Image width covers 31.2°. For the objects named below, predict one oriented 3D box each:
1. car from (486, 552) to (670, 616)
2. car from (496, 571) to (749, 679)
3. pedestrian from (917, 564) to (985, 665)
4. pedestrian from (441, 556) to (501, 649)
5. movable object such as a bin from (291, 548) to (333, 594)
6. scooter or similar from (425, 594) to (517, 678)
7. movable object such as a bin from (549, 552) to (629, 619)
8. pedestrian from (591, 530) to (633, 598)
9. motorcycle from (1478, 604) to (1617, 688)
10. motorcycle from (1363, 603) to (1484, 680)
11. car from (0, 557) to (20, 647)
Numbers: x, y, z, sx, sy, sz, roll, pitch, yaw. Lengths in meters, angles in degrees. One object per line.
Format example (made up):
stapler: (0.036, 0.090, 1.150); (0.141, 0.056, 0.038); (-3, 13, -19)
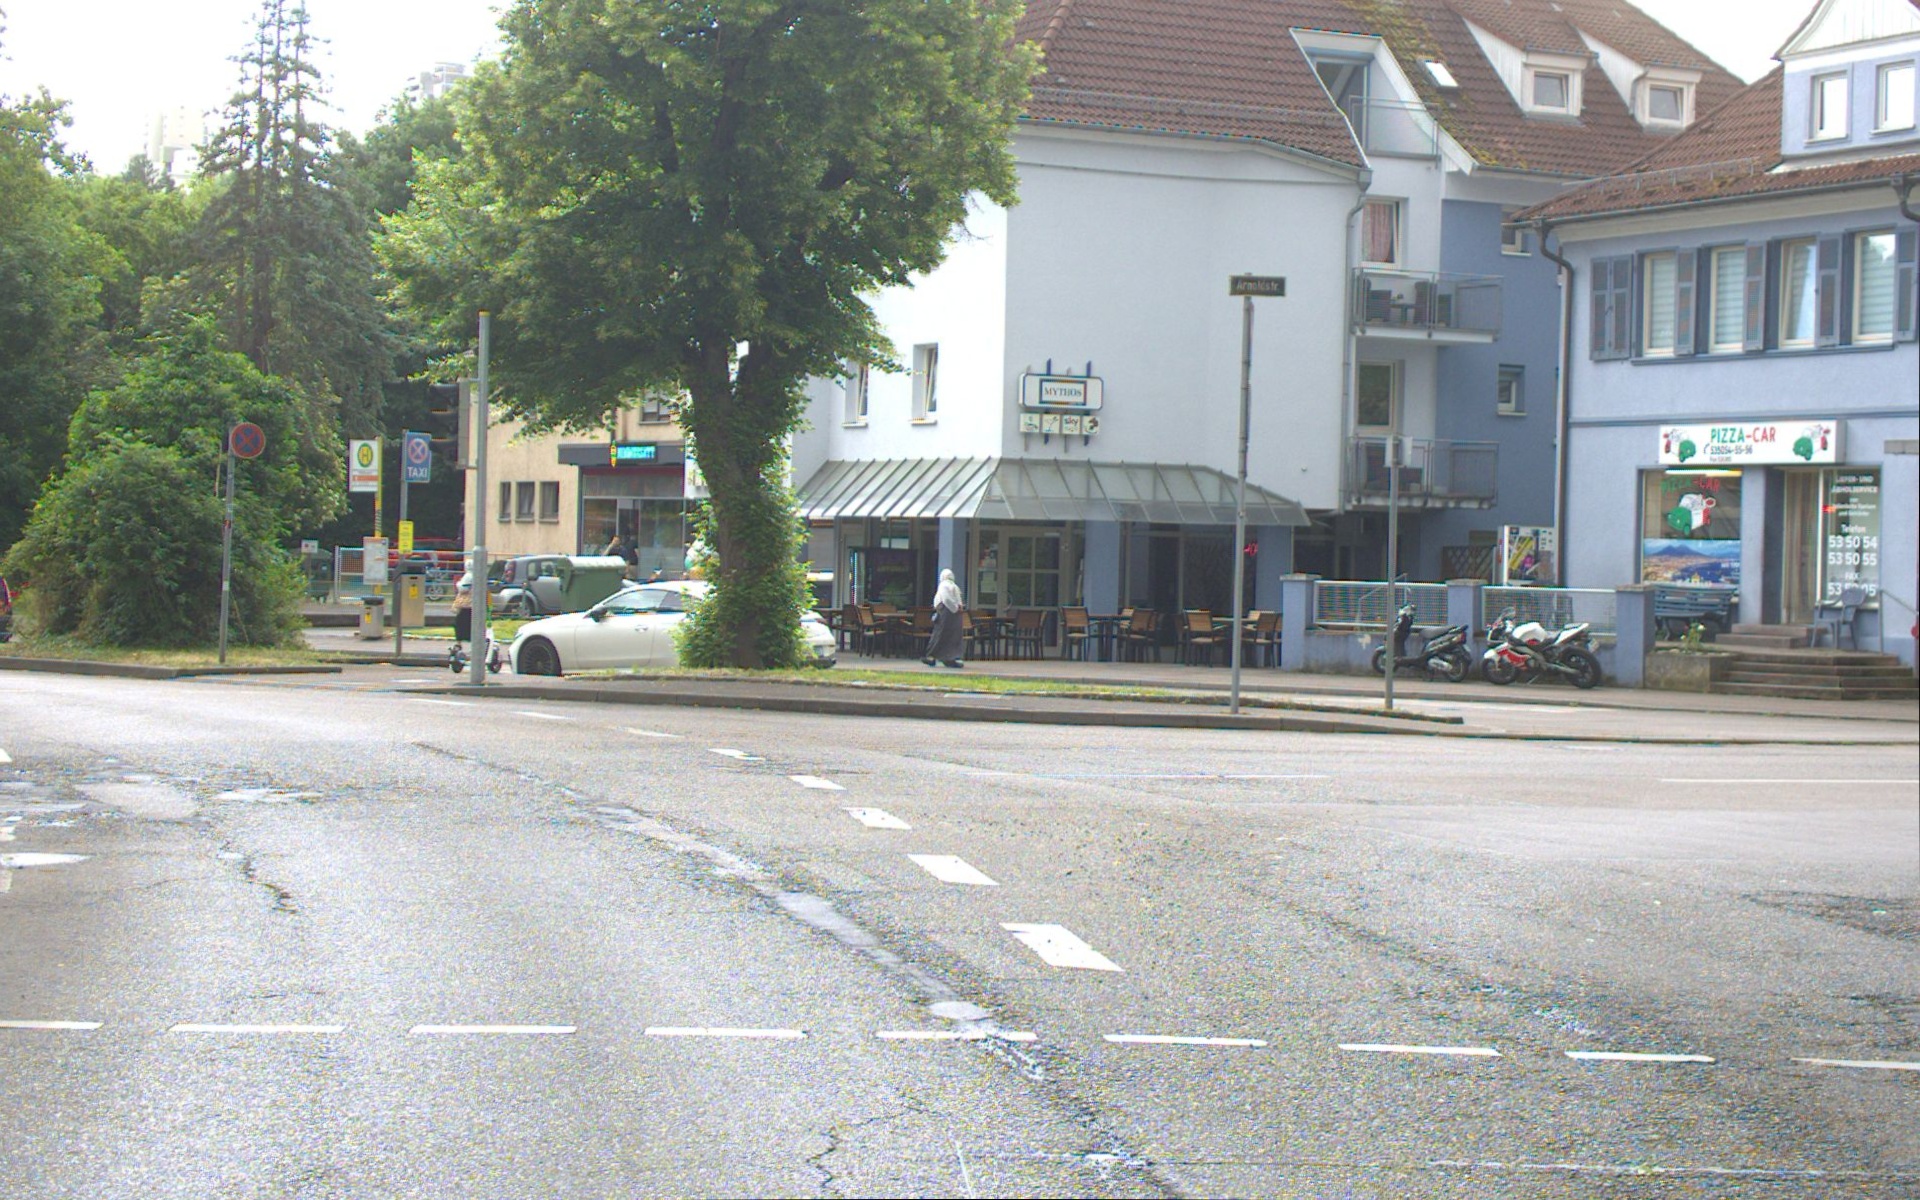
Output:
car: (-8.424, -0.362, 75.873); (3.733, 1.340, 1.434); (1, 1, -26)
car: (-4.529, 0.317, 46.044); (3.171, 1.350, 1.436); (2, 1, 35)
pedestrian: (-0.139, 0.222, 53.550); (0.768, 1.539, 0.677); (1, 1, 39)
pedestrian: (-8.237, 0.040, 57.913); (0.707, 1.539, 0.677); (2, 1, 40)
movable object such as a bin: (-16.245, -0.727, 86.169); (0.950, 1.111, 0.383); (1, 1, -21)
scooter or similar: (-6.057, 0.433, 42.651); (0.417, 1.008, 1.565); (1, 1, 20)
movable object such as a bin: (-7.981, -0.320, 73.976); (1.440, 1.404, 0.967); (1, 1, -27)
pedestrian: (-8.071, -0.838, 79.720); (0.676, 1.539, 0.708); (1, 1, -34)
motorcycle: (8.259, 0.634, 48.382); (1.798, 1.118, 0.693); (2, 1, 38)
motorcycle: (6.753, 0.596, 50.160); (1.636, 1.060, 0.693); (2, 1, 44)
car: (-16.512, -0.010, 53.723); (3.590, 1.389, 1.469); (2, 1, 32)
